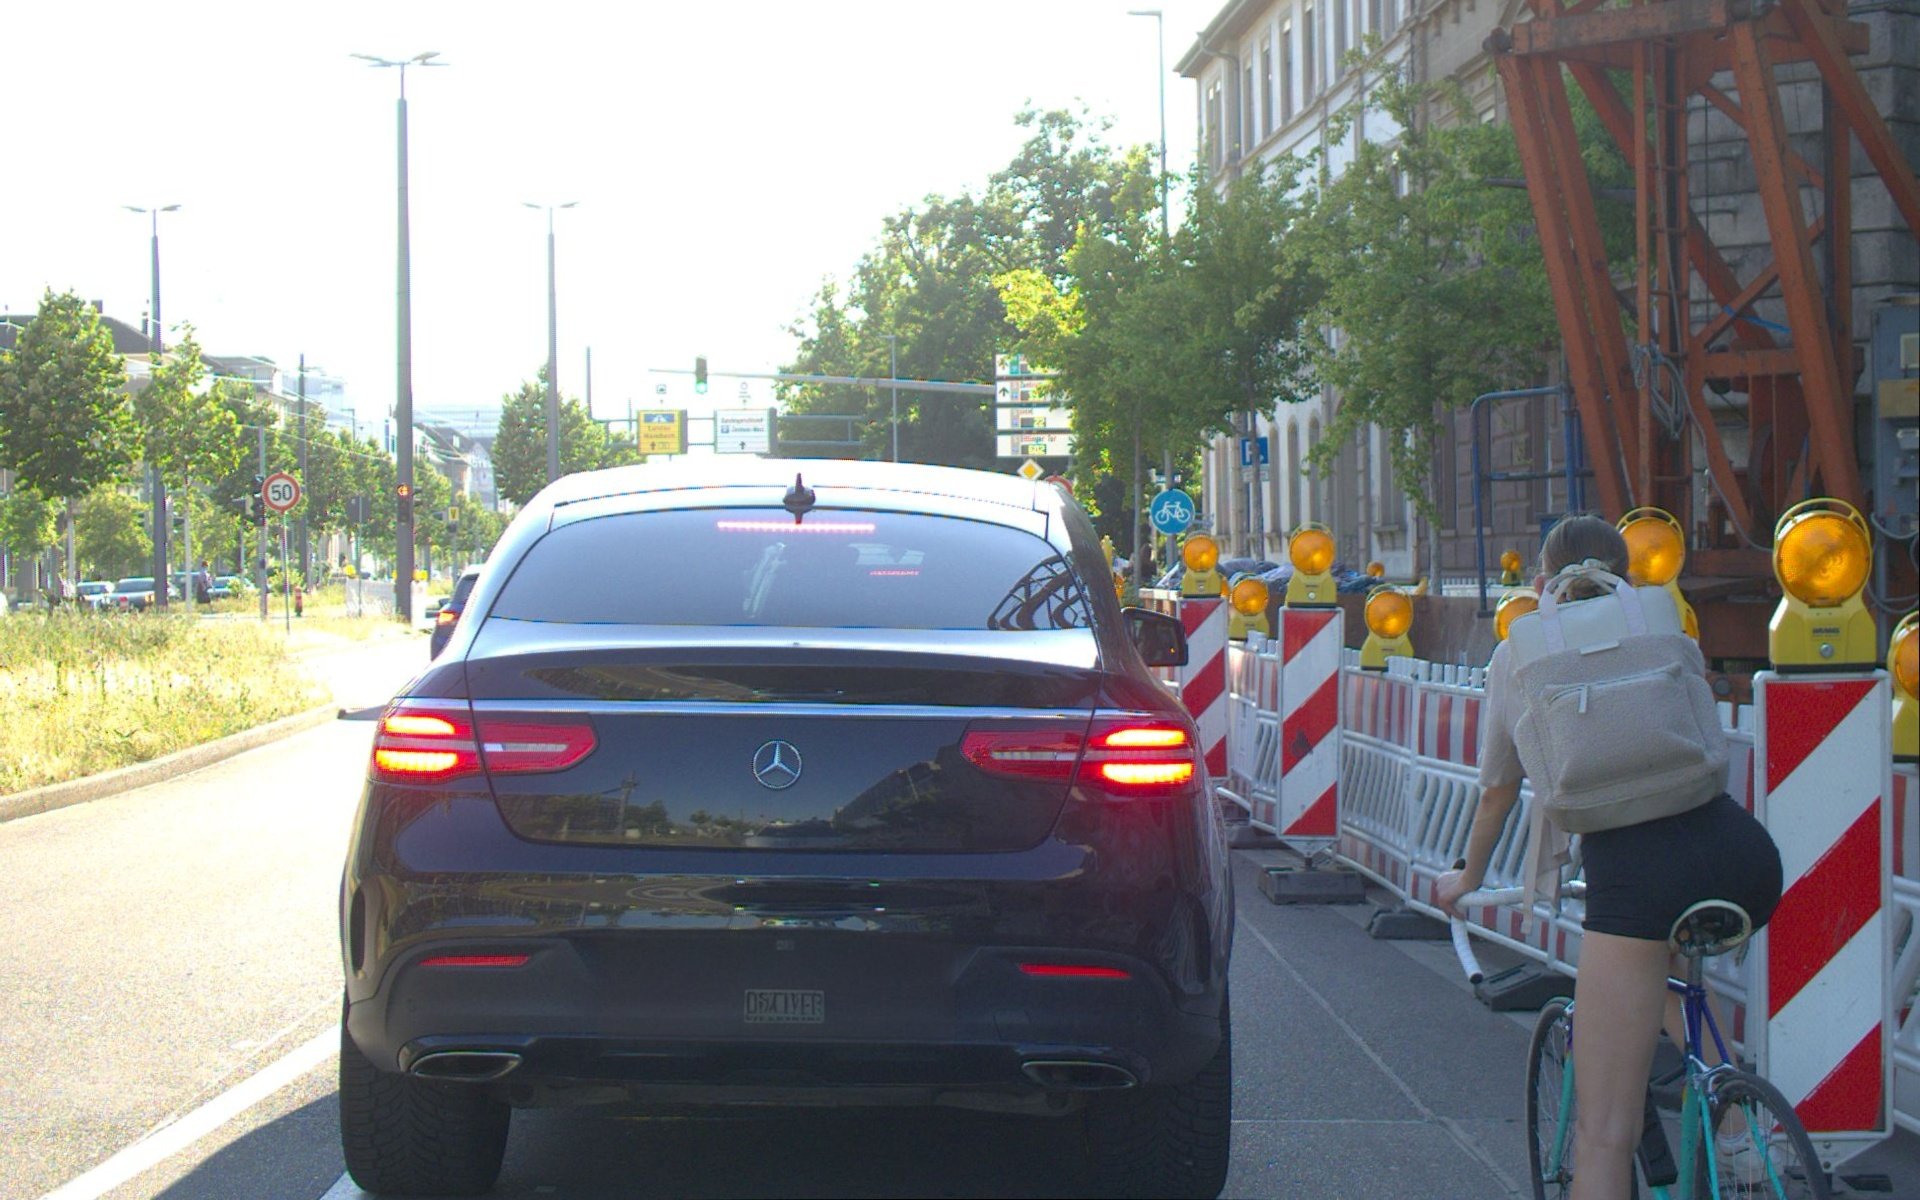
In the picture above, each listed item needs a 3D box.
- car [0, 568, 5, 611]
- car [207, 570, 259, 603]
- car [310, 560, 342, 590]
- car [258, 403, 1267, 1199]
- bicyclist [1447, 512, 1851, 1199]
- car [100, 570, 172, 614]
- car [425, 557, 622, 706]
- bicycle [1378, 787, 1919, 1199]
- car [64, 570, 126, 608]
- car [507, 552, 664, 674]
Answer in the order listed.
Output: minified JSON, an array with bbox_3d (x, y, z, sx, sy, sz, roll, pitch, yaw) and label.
[{"bbox_3d":[-33.393,-0.356,115.544,1.708,1.437,3.583,1,1,-3],"label":"car"},{"bbox_3d":[-32.461,-0.599,153.554,1.708,1.437,3.583,1,1,-3],"label":"car"},{"bbox_3d":[-43.404,-1.689,235.342,1.993,2.007,4.001,1,1,-12],"label":"car"},{"bbox_3d":[-0.417,0.482,8.863,1.993,1.766,4.000,1,1,-1],"label":"car"},{"bbox_3d":[1.162,0.553,5.892,0.522,1.391,0.615,1,0,-3],"label":"bicyclist"},{"bbox_3d":[-27.858,-0.290,116.307,1.708,1.437,3.583,1,1,-3],"label":"car"},{"bbox_3d":[-4.440,0.287,35.363,1.708,1.437,3.583,1,1,-3],"label":"car"},{"bbox_3d":[1.145,0.909,6.016,0.512,1.048,1.725,1,1,-3],"label":"bicycle"},{"bbox_3d":[-34.071,-0.436,135.486,1.708,1.437,3.583,1,1,-3],"label":"car"},{"bbox_3d":[-4.611,0.134,42.707,1.708,1.437,3.583,1,1,-3],"label":"car"}]
